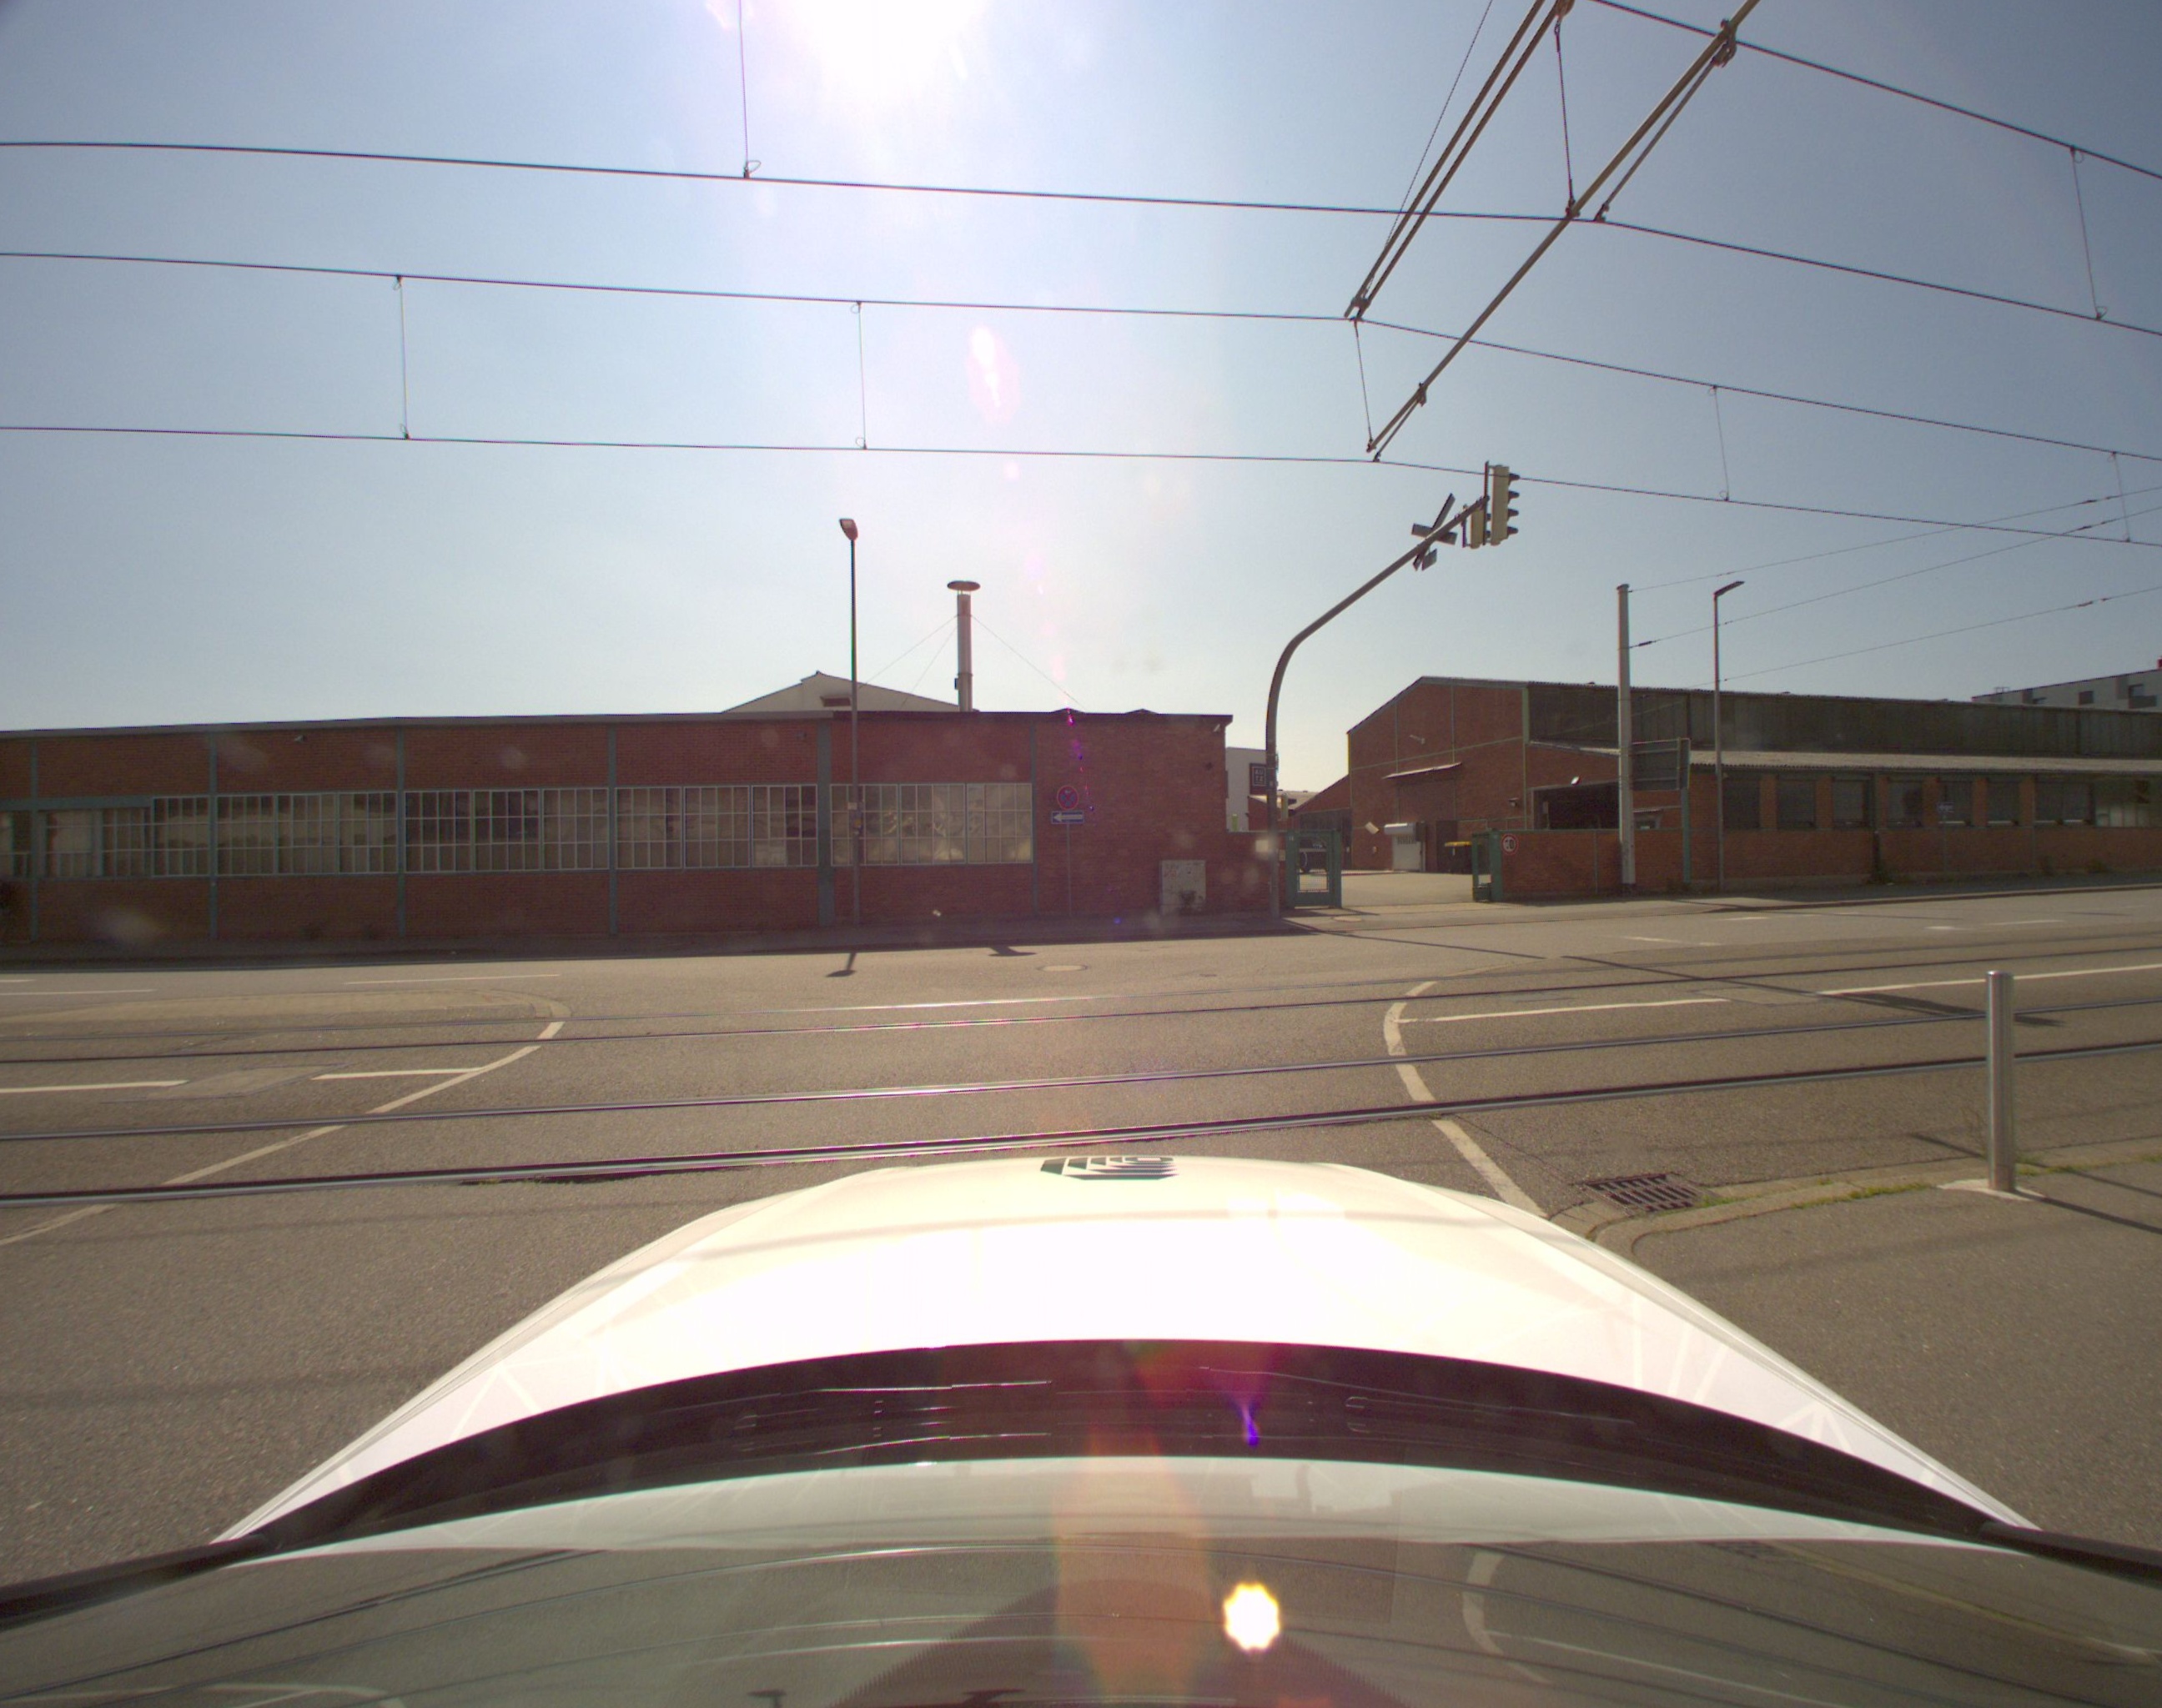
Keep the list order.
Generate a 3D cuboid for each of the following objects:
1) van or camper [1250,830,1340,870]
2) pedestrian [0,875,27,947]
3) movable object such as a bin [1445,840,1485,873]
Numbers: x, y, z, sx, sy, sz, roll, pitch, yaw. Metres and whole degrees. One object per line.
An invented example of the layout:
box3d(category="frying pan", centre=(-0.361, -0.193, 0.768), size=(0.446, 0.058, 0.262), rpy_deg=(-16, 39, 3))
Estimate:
box3d(category="van or camper", centre=(10.933, -0.179, 41.497), size=(4.437, 1.900, 1.980), rpy_deg=(1, -1, -32))
box3d(category="pedestrian", centre=(-26.646, 1.398, 20.052), size=(0.444, 1.765, 0.689), rpy_deg=(1, -1, 14))
box3d(category="movable object such as a bin", centre=(15.814, 0.092, 33.583), size=(0.975, 1.314, 1.147), rpy_deg=(-2, 0, -13))
